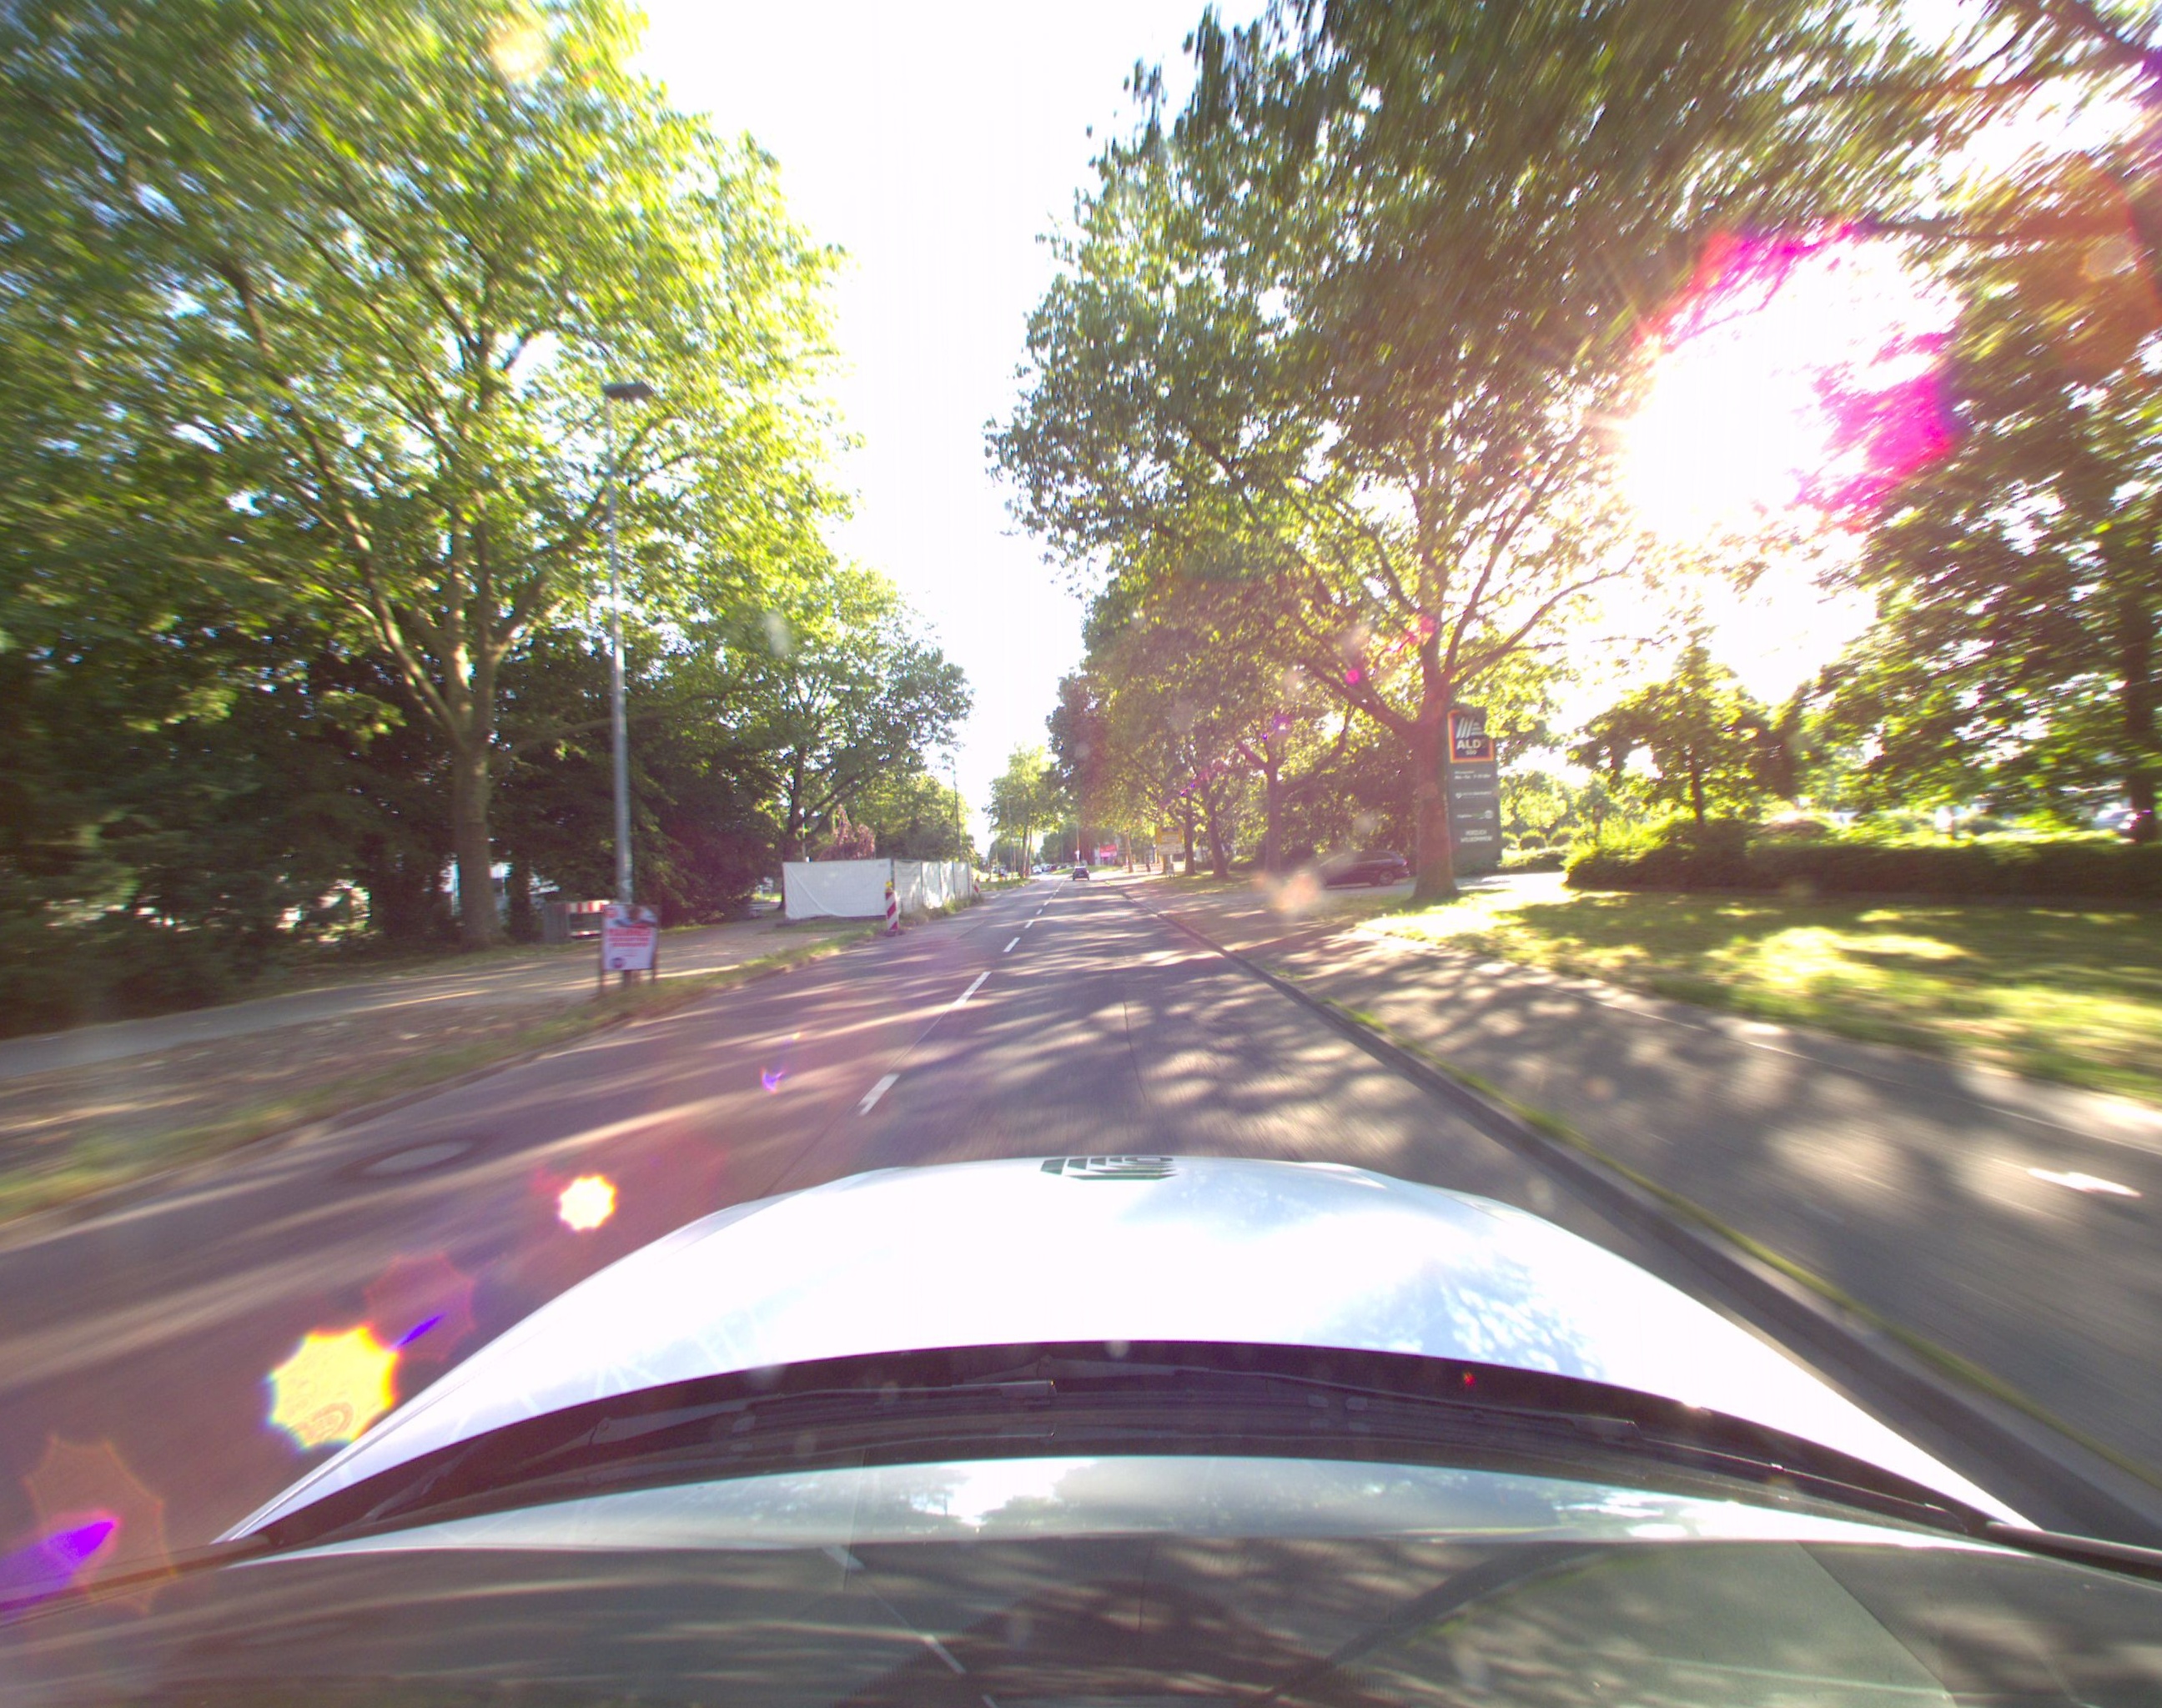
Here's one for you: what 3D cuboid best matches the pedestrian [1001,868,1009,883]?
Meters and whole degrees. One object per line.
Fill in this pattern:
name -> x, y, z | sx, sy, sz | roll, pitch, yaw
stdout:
pedestrian -> -9.038, 2.582, 96.824 | 0.745, 1.739, 0.852 | -3, -1, 1

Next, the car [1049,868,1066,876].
car -> -6.045, 4.636, 207.936 | 4.012, 1.747, 1.778 | -2, 0, -30

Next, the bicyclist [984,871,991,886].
bicyclist -> -10.970, 2.808, 95.154 | 0.577, 1.679, 0.970 | -4, 0, -1

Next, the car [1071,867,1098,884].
car -> 0.388, 2.286, 86.678 | 1.826, 1.605, 3.877 | -4, -1, 14

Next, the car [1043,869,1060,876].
car -> -7.731, 4.753, 210.717 | 4.012, 1.747, 1.778 | -2, 0, -30

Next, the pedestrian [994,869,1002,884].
pedestrian -> -9.862, 2.649, 96.805 | 0.663, 1.739, 0.751 | -3, -1, 1

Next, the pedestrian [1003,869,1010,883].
pedestrian -> -8.716, 2.579, 95.625 | 0.630, 1.638, 0.576 | -3, -1, 0

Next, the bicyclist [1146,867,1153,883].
bicyclist -> 7.713, 2.334, 91.635 | 0.649, 1.705, 0.871 | -2, -1, 0

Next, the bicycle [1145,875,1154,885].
bicycle -> 7.712, 2.911, 91.528 | 0.767, 0.964, 2.173 | -5, -1, 0

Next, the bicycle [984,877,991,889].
bicycle -> -10.931, 3.353, 95.128 | 0.577, 1.245, 2.106 | -4, 0, -1

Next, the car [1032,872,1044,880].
car -> -10.005, 5.091, 188.580 | 1.997, 1.578, 3.980 | -3, -1, -14

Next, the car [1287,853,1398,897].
car -> 10.658, 0.845, 33.416 | 3.971, 1.443, 1.762 | -4, -1, 2

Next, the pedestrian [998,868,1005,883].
pedestrian -> -9.360, 2.551, 96.063 | 0.630, 1.739, 0.665 | -3, -1, 1
